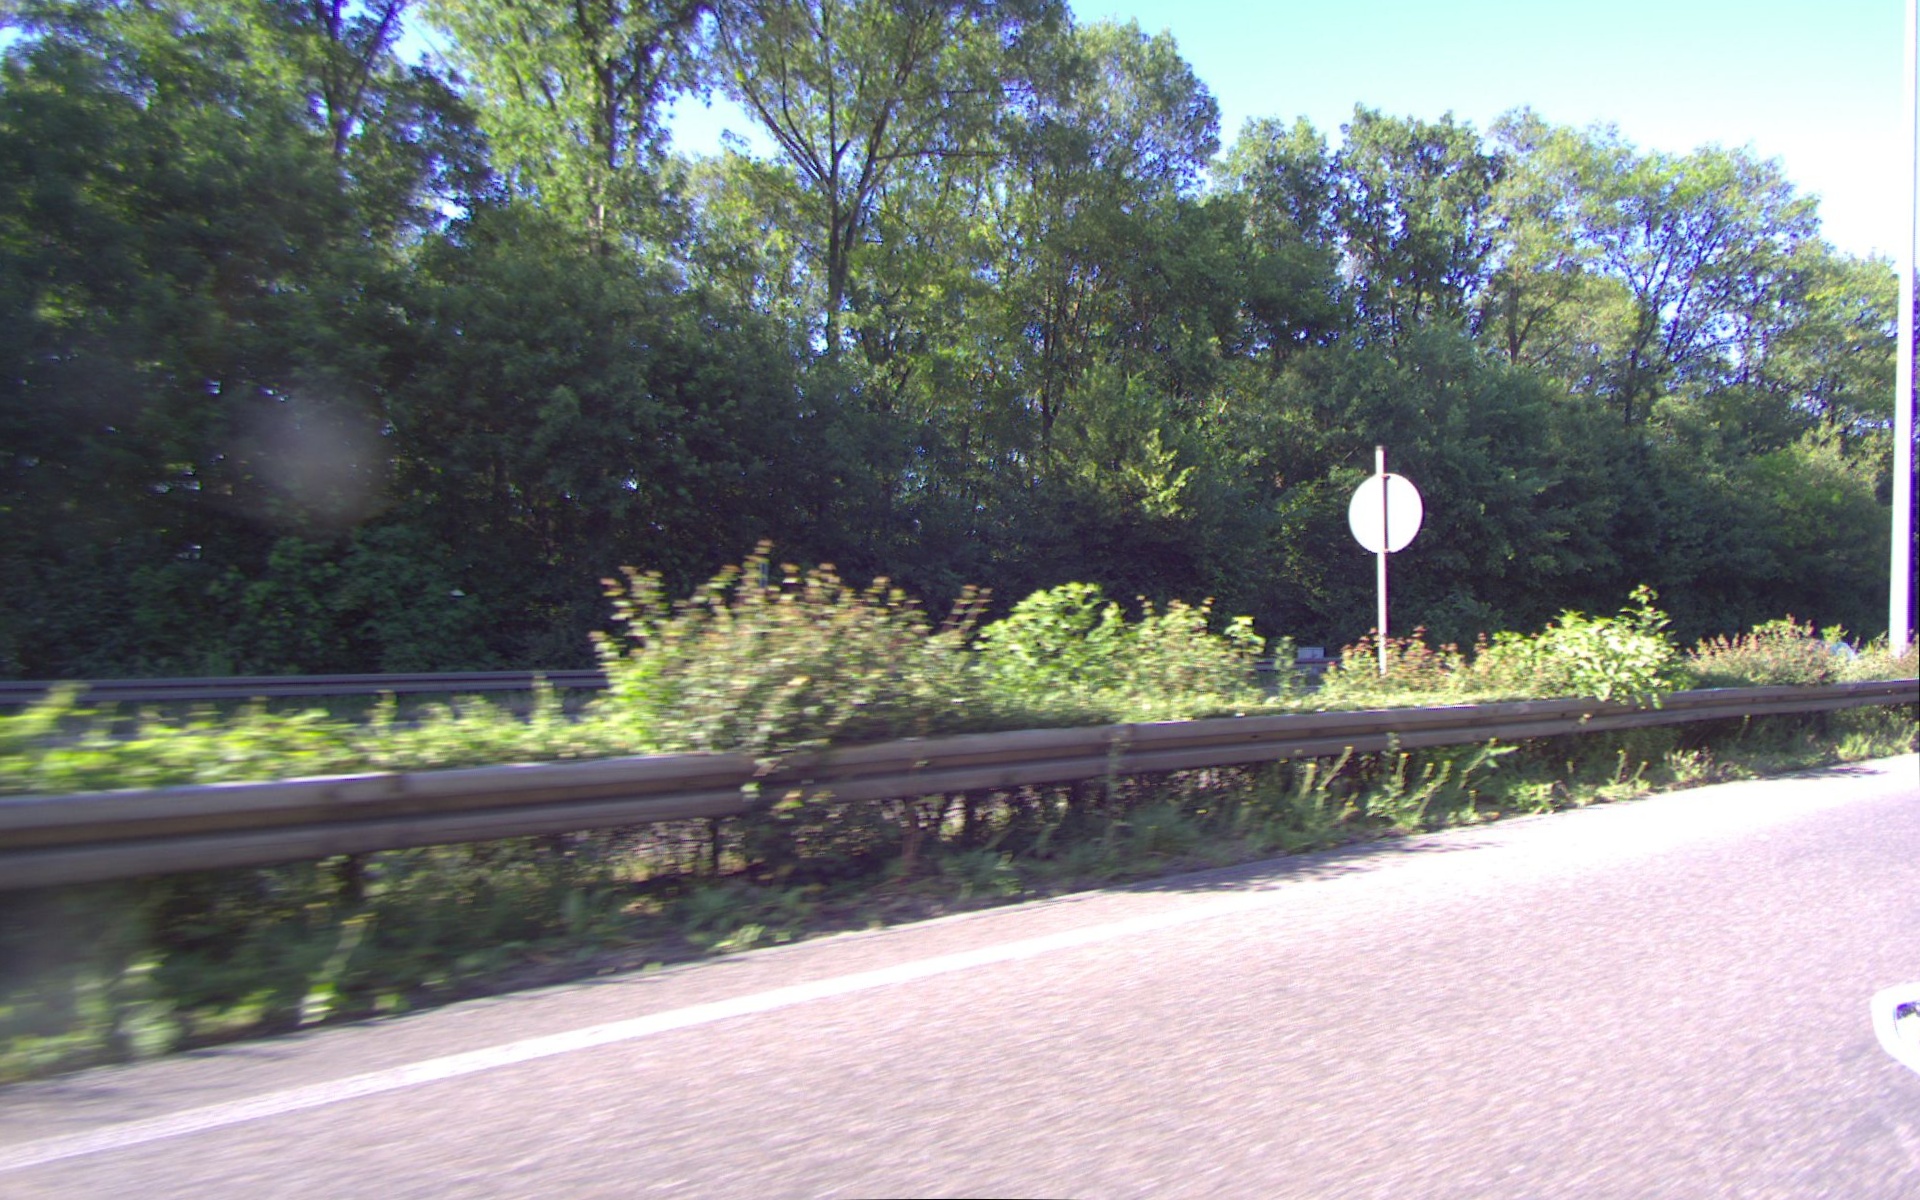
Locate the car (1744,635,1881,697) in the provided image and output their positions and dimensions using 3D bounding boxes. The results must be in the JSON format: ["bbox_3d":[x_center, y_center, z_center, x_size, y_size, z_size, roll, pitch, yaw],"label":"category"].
[{"bbox_3d":[27.488,2.100,32.384,4.242,1.809,1.985,2,0,-29],"label":"car"}]
